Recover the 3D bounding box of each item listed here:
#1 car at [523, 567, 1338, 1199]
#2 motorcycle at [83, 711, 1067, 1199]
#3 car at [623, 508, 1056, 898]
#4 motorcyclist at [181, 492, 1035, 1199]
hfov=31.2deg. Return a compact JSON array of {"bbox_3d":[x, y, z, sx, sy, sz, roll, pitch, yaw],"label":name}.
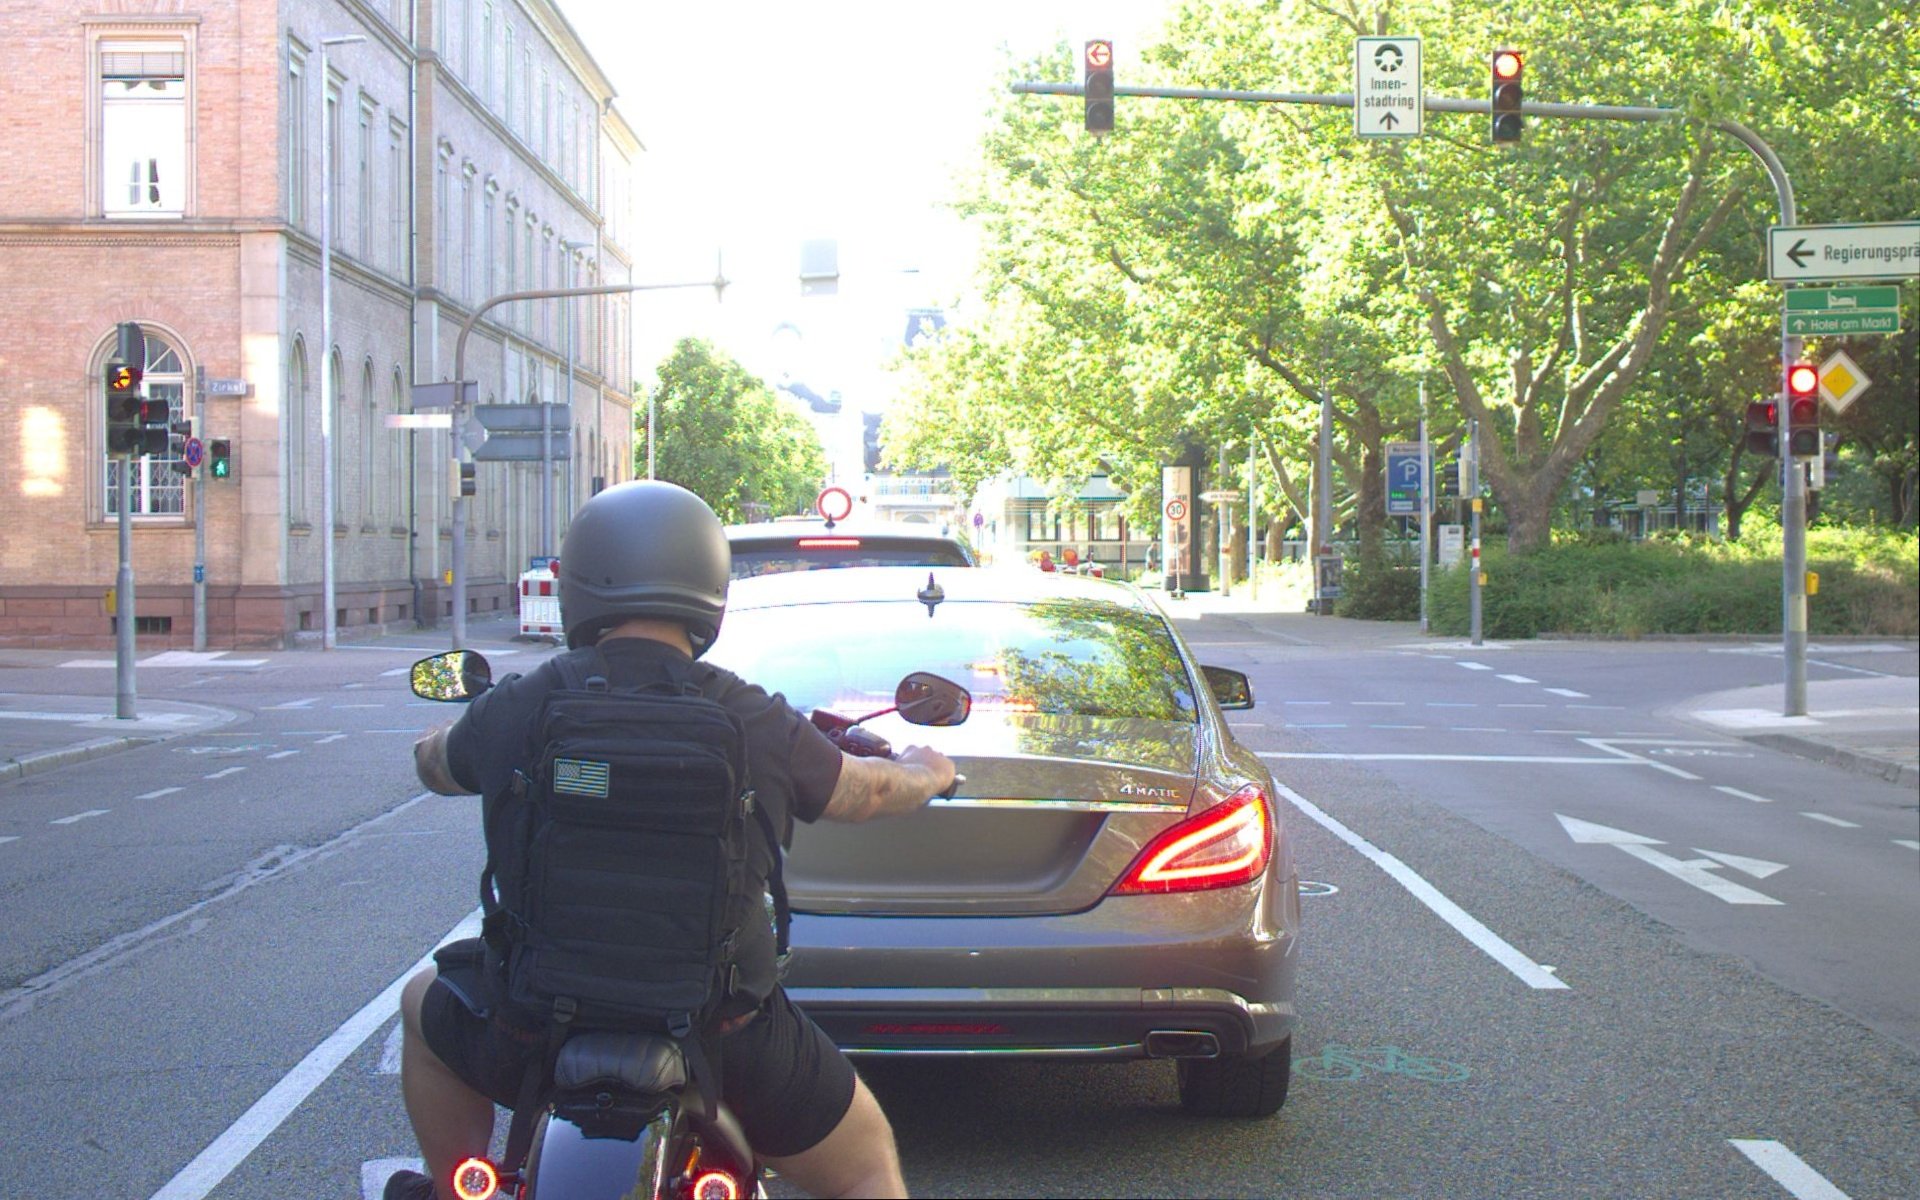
[{"bbox_3d":[-0.088,0.638,9.675,1.822,1.432,3.806,1,1,-1],"label":"car"},{"bbox_3d":[-0.472,0.835,5.511,1.118,1.203,2.212,1,1,6],"label":"motorcycle"},{"bbox_3d":[-0.547,0.430,16.953,1.863,1.672,4.000,1,1,-1],"label":"car"},{"bbox_3d":[-0.486,0.632,5.287,1.099,1.560,1.071,1,0,6],"label":"motorcyclist"}]
